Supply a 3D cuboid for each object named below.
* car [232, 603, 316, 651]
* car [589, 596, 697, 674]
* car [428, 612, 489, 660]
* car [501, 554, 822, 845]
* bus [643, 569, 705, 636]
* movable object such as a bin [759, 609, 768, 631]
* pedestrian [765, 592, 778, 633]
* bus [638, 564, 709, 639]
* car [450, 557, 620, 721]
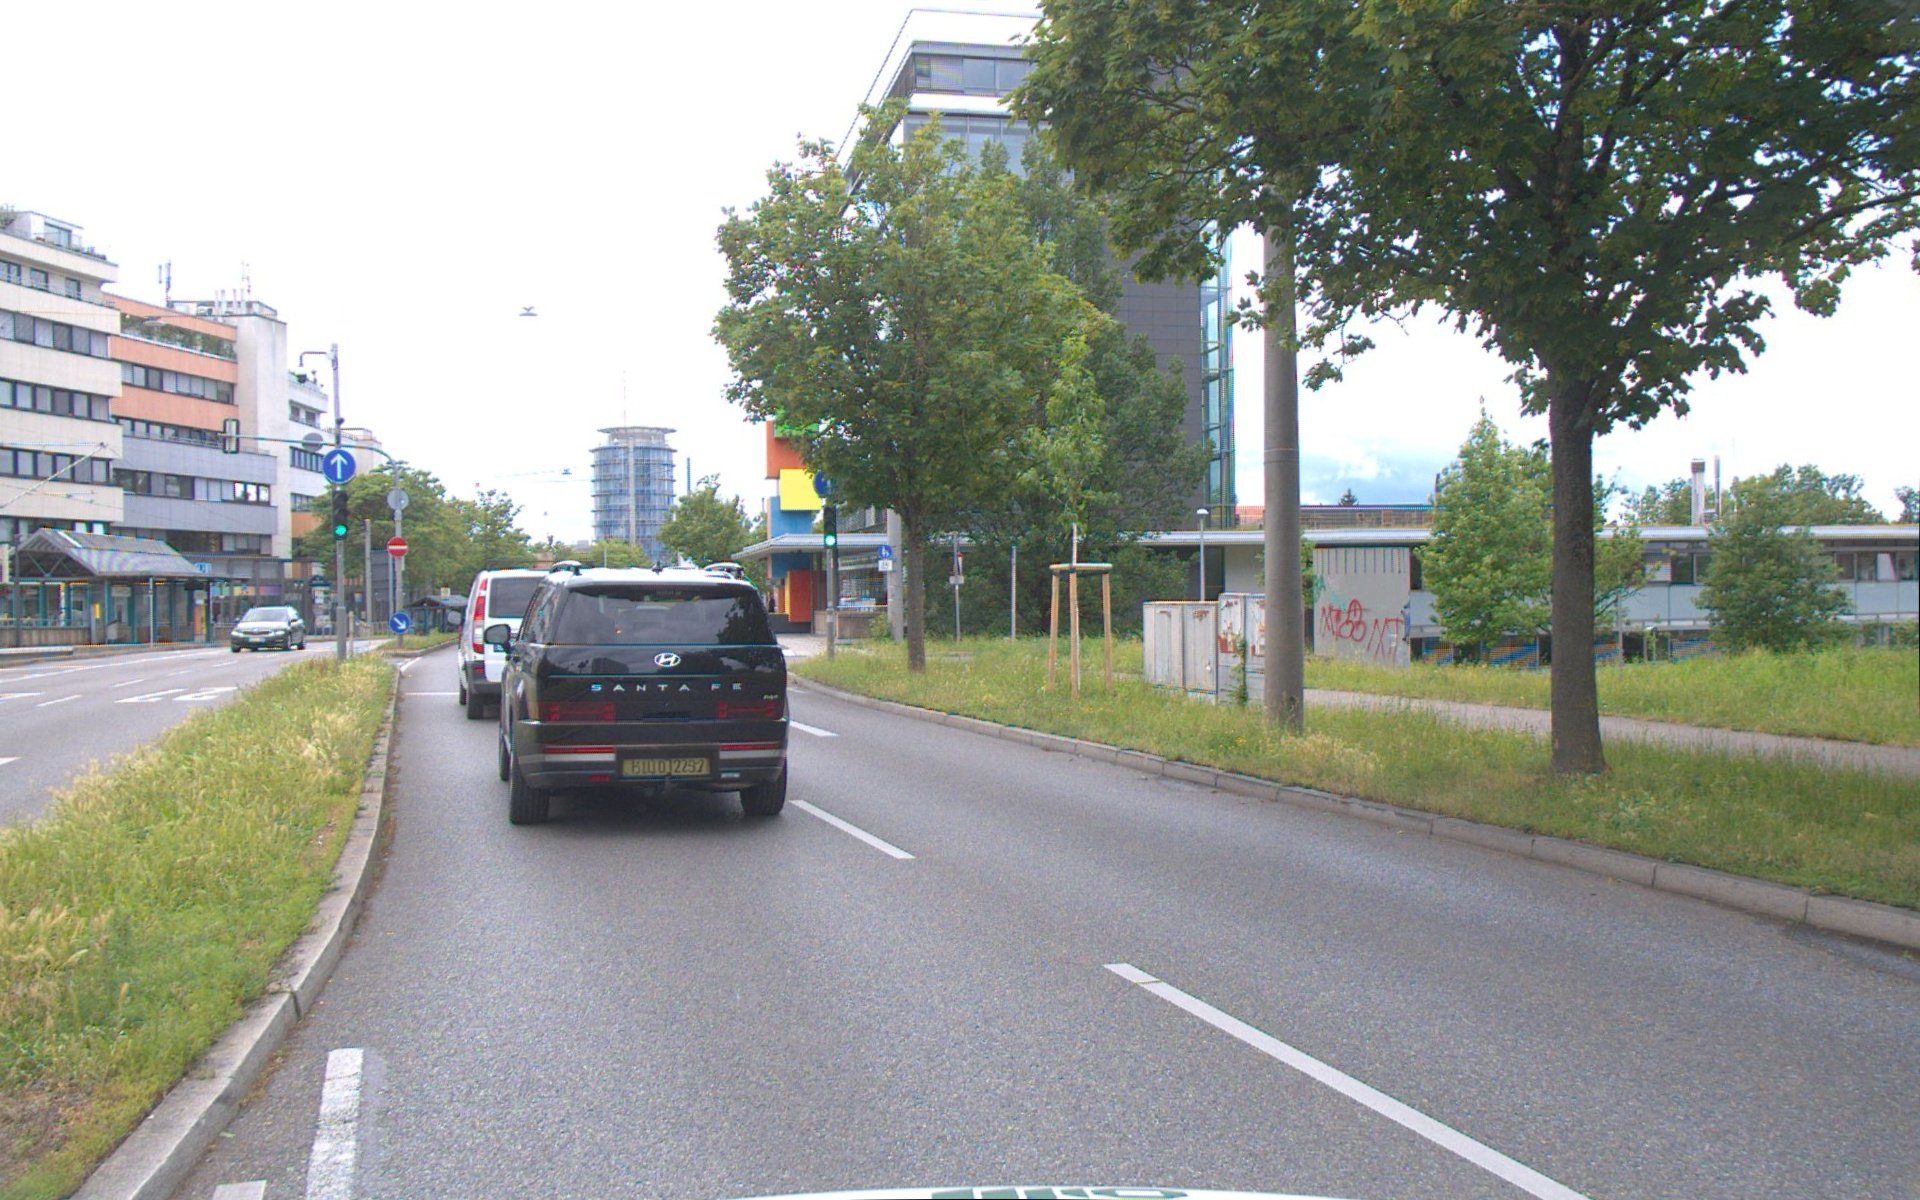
[{"bbox_3d":[-22.658,0.879,54.793,1.767,1.480,4.598,-1,0,-12],"label":"car"},{"bbox_3d":[-7.085,0.720,36.601,1.872,1.569,4.687,1,0,-17],"label":"car"},{"bbox_3d":[-16.391,1.161,54.158,1.843,1.443,4.423,1,0,-16],"label":"car"},{"bbox_3d":[-2.423,0.591,12.432,1.872,1.762,4.425,1,0,-17],"label":"car"},{"bbox_3d":[-14.795,0.164,85.833,2.898,3.166,9.952,-2,0,-10],"label":"bus"},{"bbox_3d":[-8.286,0.840,69.671,0.349,0.913,0.461,-1,-1,-11],"label":"movable object such as a bin"},{"bbox_3d":[-8.023,0.531,70.394,0.515,1.702,0.731,-1,-1,-11],"label":"pedestrian"},{"bbox_3d":[-13.223,0.097,76.473,2.912,3.171,9.222,-2,0,-10],"label":"bus"},{"bbox_3d":[-5.923,0.463,22.671,1.873,2.003,4.610,1,0,-19],"label":"car"}]
